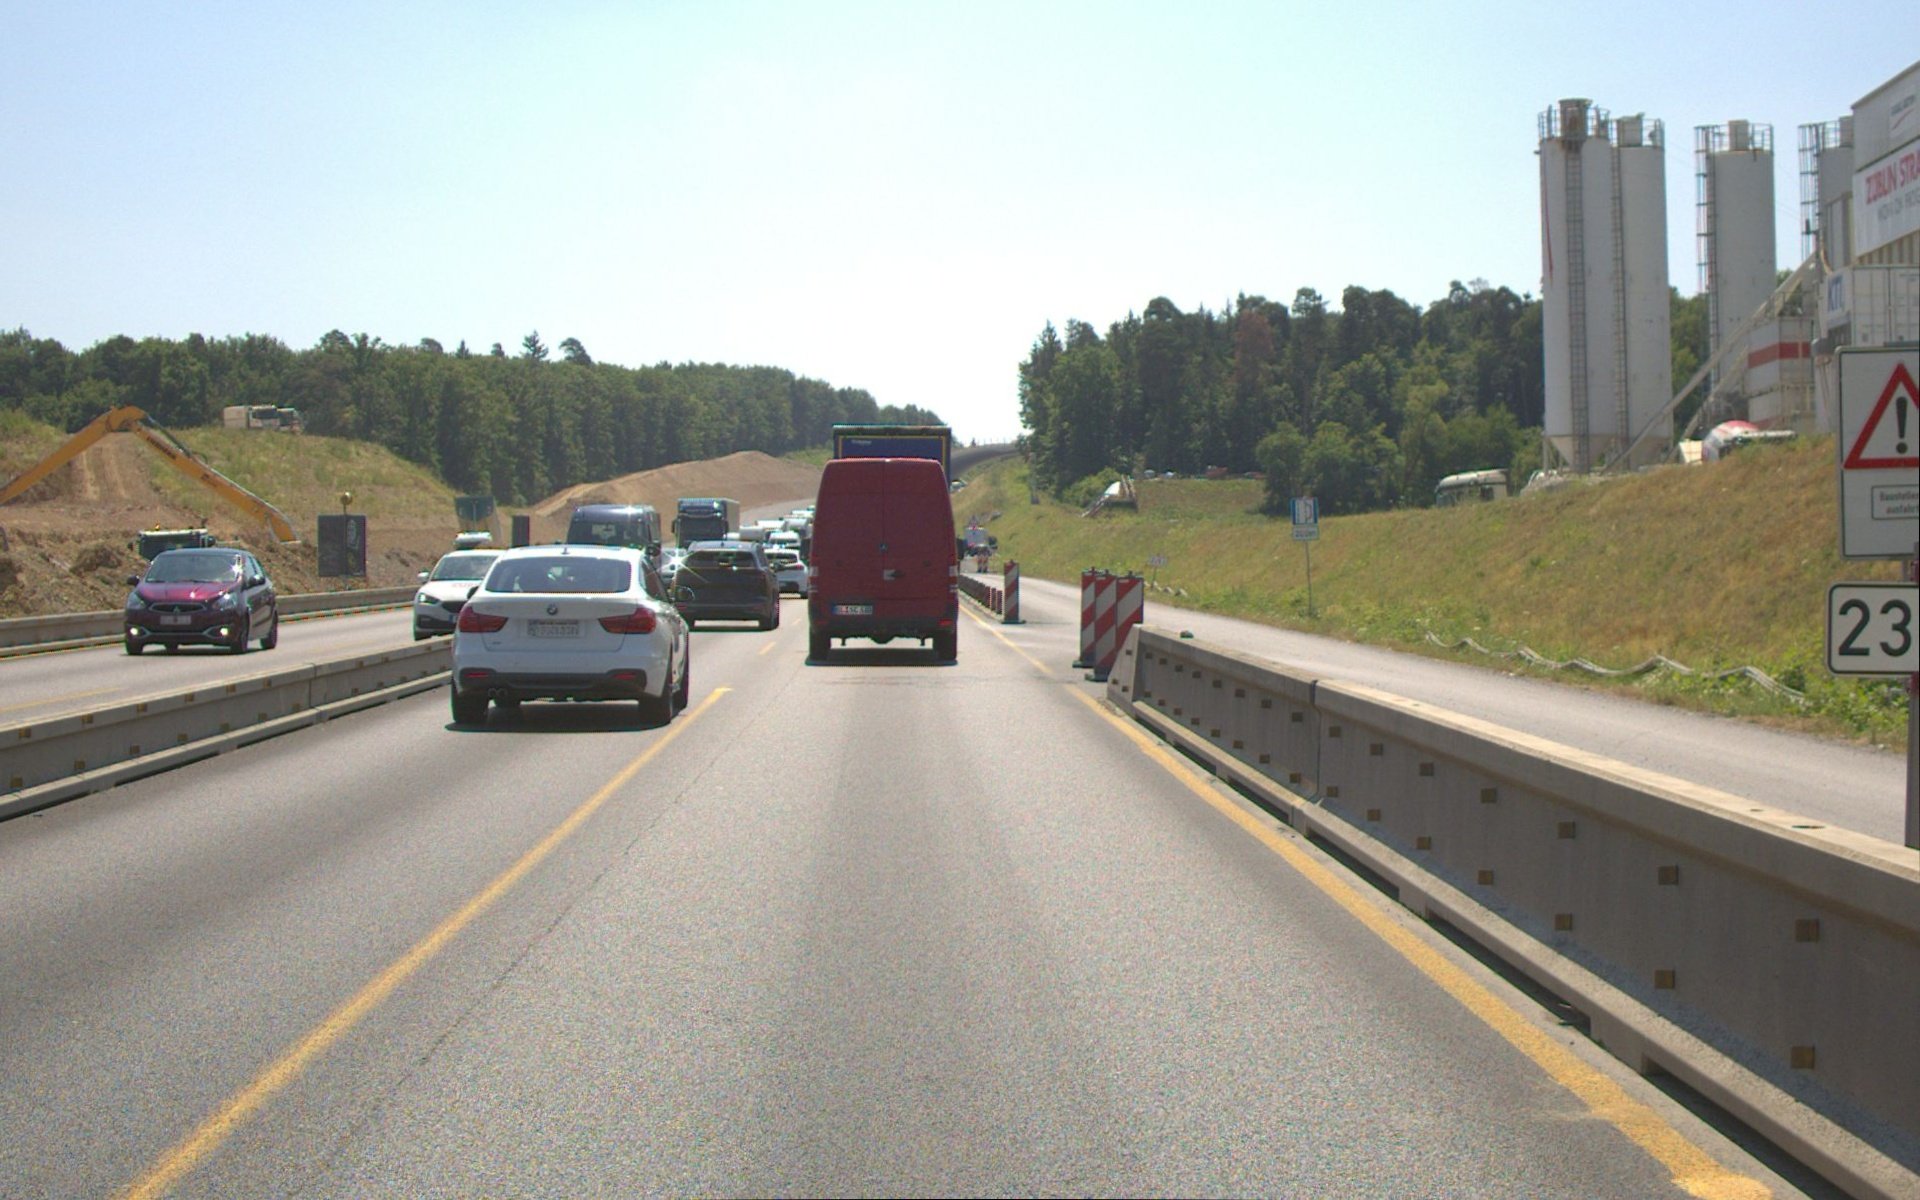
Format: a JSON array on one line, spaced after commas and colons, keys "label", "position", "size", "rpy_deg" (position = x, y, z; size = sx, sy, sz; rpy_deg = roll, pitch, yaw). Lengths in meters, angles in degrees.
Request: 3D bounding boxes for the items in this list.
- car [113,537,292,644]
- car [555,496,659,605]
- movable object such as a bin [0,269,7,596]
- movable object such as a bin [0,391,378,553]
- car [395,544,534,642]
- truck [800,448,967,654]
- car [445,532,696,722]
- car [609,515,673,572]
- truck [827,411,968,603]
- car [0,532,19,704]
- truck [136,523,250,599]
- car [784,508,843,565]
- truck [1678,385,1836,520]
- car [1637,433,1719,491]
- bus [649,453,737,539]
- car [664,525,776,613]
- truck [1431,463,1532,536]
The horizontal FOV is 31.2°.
[{"label": "car", "position": [-10.752, -0.162, 49.066], "size": [1.652, 1.437, 4.227], "rpy_deg": [-1, 1, -1]}, {"label": "car", "position": [-8.270, -1.171, 80.863], "size": [1.955, 2.459, 5.358], "rpy_deg": [-1, 1, -1]}, {"label": "movable object such as a bin", "position": [-26.391, -3.877, 79.521], "size": [7.637, 7.687, 3.446], "rpy_deg": [-1, 1, 1]}, {"label": "movable object such as a bin", "position": [-36.494, -5.843, 158.312], "size": [18.709, 7.206, 3.616], "rpy_deg": [-1, 1, -2]}, {"label": "car", "position": [-7.720, -0.138, 53.903], "size": [1.678, 1.437, 4.672], "rpy_deg": [-1, 1, -2]}, {"label": "truck", "position": [-1.004, -0.693, 47.301], "size": [2.111, 2.624, 6.485], "rpy_deg": [-1, 1, 0]}, {"label": "car", "position": [-3.353, 0.178, 30.400], "size": [1.795, 1.529, 5.074], "rpy_deg": [0, 1, -2]}, {"label": "car", "position": [-11.558, -2.051, 124.715], "size": [1.993, 2.007, 4.000], "rpy_deg": [-1, 1, -1]}, {"label": "truck", "position": [-1.380, -2.103, 78.738], "size": [3.015, 4.138, 8.273], "rpy_deg": [-1, 1, 0]}, {"label": "car", "position": [-9.253, 0.197, 28.213], "size": [1.860, 1.495, 4.577], "rpy_deg": [-1, 1, -1]}, {"label": "truck", "position": [-27.467, -1.428, 123.377], "size": [2.315, 2.608, 8.411], "rpy_deg": [-1, 1, -1]}, {"label": "car", "position": [-5.289, -2.318, 124.532], "size": [1.993, 2.007, 4.000], "rpy_deg": [-1, 1, -1]}, {"label": "truck", "position": [26.661, -4.852, 115.551], "size": [3.436, 4.281, 9.927], "rpy_deg": [-1, 1, 3]}, {"label": "car", "position": [26.225, -5.013, 125.676], "size": [1.993, 2.007, 4.428], "rpy_deg": [-1, 1, -1]}, {"label": "bus", "position": [-14.357, -5.544, 186.496], "size": [3.942, 4.400, 17.202], "rpy_deg": [-1, 1, -2]}, {"label": "car", "position": [-4.325, -0.576, 62.429], "size": [1.795, 1.529, 3.931], "rpy_deg": [-1, 1, -1]}, {"label": "truck", "position": [22.845, -4.383, 150.393], "size": [2.899, 3.102, 6.005], "rpy_deg": [0, 1, 23]}]
